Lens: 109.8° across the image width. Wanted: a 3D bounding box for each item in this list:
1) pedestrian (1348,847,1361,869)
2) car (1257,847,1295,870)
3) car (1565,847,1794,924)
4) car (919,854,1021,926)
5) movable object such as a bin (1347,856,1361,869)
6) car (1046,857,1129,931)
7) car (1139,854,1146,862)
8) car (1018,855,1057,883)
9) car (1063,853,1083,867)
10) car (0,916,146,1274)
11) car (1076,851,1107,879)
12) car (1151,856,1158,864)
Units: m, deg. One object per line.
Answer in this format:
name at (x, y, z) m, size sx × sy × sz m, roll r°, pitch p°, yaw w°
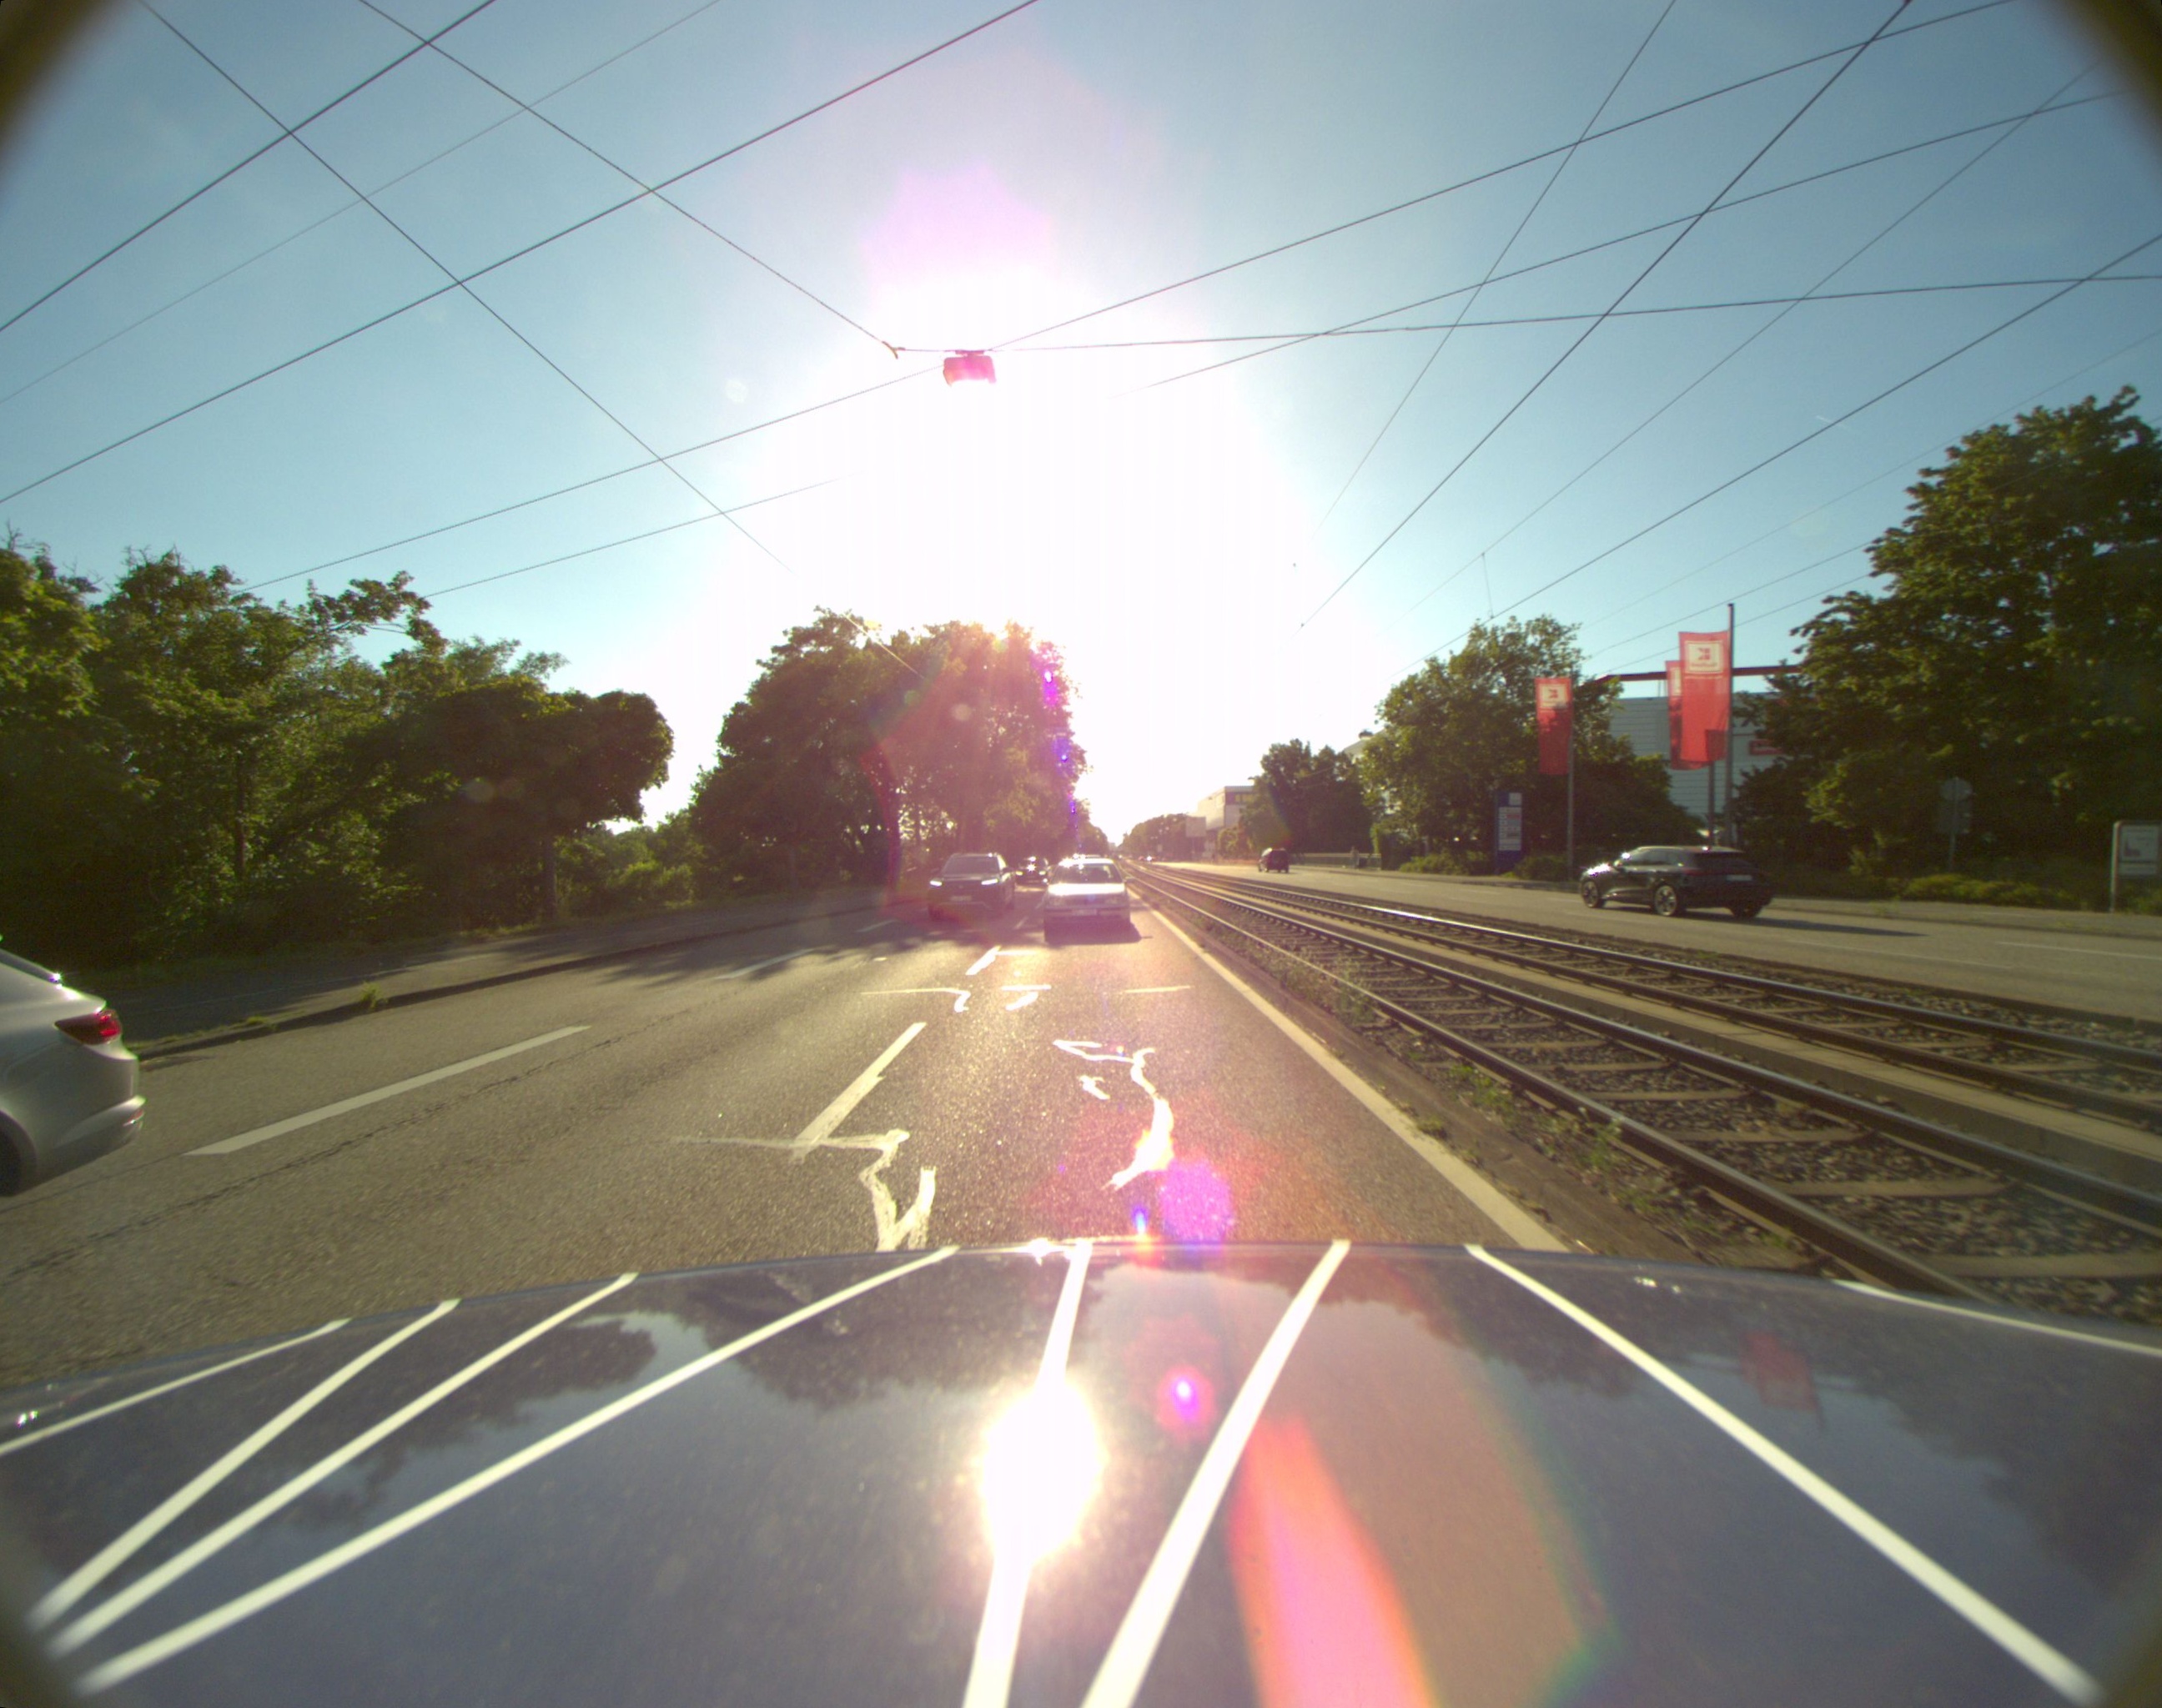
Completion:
pedestrian at (20.901, 0.277, 58.063) m, size 0.614 × 1.638 × 1.083 m, roll -3°, pitch 1°, yaw 1°
car at (15.412, 0.323, 60.233) m, size 1.998 × 1.785 × 4.349 m, roll 0°, pitch 1°, yaw 1°
car at (14.225, 0.648, 18.523) m, size 1.998 × 1.616 × 4.683 m, roll 0°, pitch 1°, yaw 2°
car at (-2.814, 0.854, 20.289) m, size 1.881 × 1.591 × 4.416 m, roll -2°, pitch 1°, yaw 2°
movable object such as a bin at (20.969, 0.639, 58.389) m, size 0.614 × 0.960 × 1.083 m, roll -3°, pitch 1°, yaw 1°
car at (0.186, 0.850, 17.985) m, size 1.695 × 1.437 × 4.001 m, roll -2°, pitch 1°, yaw 1°
car at (20.999, 1.366, 257.661) m, size 1.997 × 2.281 × 4.002 m, roll -3°, pitch 0°, yaw 7°
car at (-2.453, 0.849, 43.807) m, size 1.874 × 1.405 × 4.001 m, roll -2°, pitch 1°, yaw 1°
car at (-0.864, 0.623, 83.325) m, size 1.881 × 1.449 × 4.416 m, roll -2°, pitch 1°, yaw 2°
car at (-5.506, 1.071, 1.298) m, size 1.881 × 1.435 × 4.660 m, roll -2°, pitch 1°, yaw 3°
car at (0.733, 0.683, 49.517) m, size 1.881 × 1.591 × 4.416 m, roll -2°, pitch 1°, yaw 2°
car at (23.739, 1.987, 246.268) m, size 1.997 × 2.281 × 4.002 m, roll -3°, pitch 0°, yaw 7°
